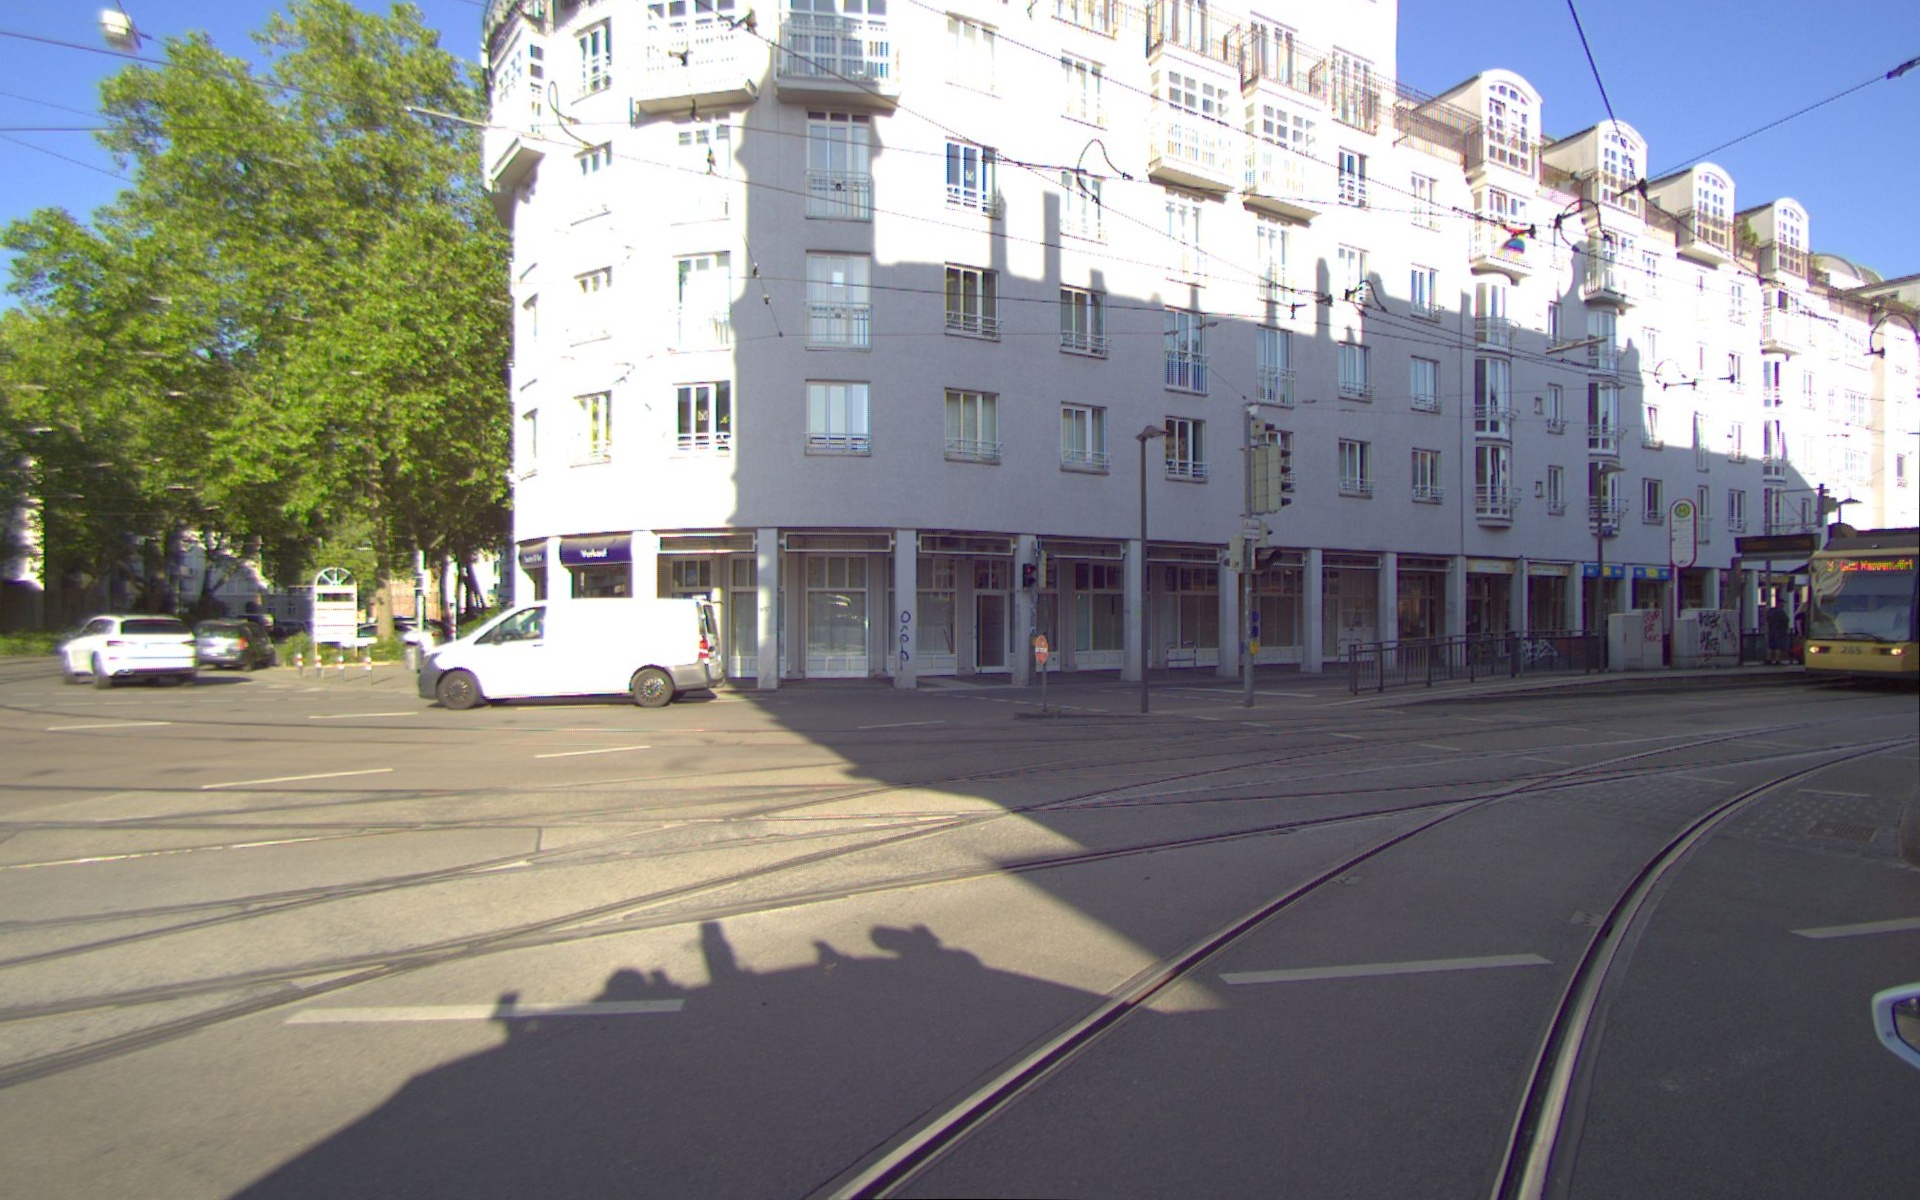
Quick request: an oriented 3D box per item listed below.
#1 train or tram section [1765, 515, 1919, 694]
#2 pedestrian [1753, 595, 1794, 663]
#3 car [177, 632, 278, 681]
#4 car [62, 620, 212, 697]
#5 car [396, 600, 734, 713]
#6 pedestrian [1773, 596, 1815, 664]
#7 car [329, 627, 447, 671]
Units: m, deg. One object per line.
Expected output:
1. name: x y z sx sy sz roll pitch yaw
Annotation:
1. train or tram section: 24.546 0.044 24.330 13.995 3.536 2.873 -1 -1 -30
2. pedestrian: 20.612 0.732 25.448 0.606 1.714 0.596 -1 -1 -29
3. car: -24.615 1.875 33.912 1.865 1.440 4.429 -2 -2 -25
4. car: -19.675 1.363 23.945 4.443 1.641 1.990 -3 -2 40
5. car: -6.809 0.969 17.911 5.248 1.862 1.998 0 -1 -8
6. pedestrian: 22.122 0.793 26.653 0.510 1.755 0.766 -1 -1 12
7. car: -22.351 1.893 39.359 3.953 1.530 1.785 0 0 -31
